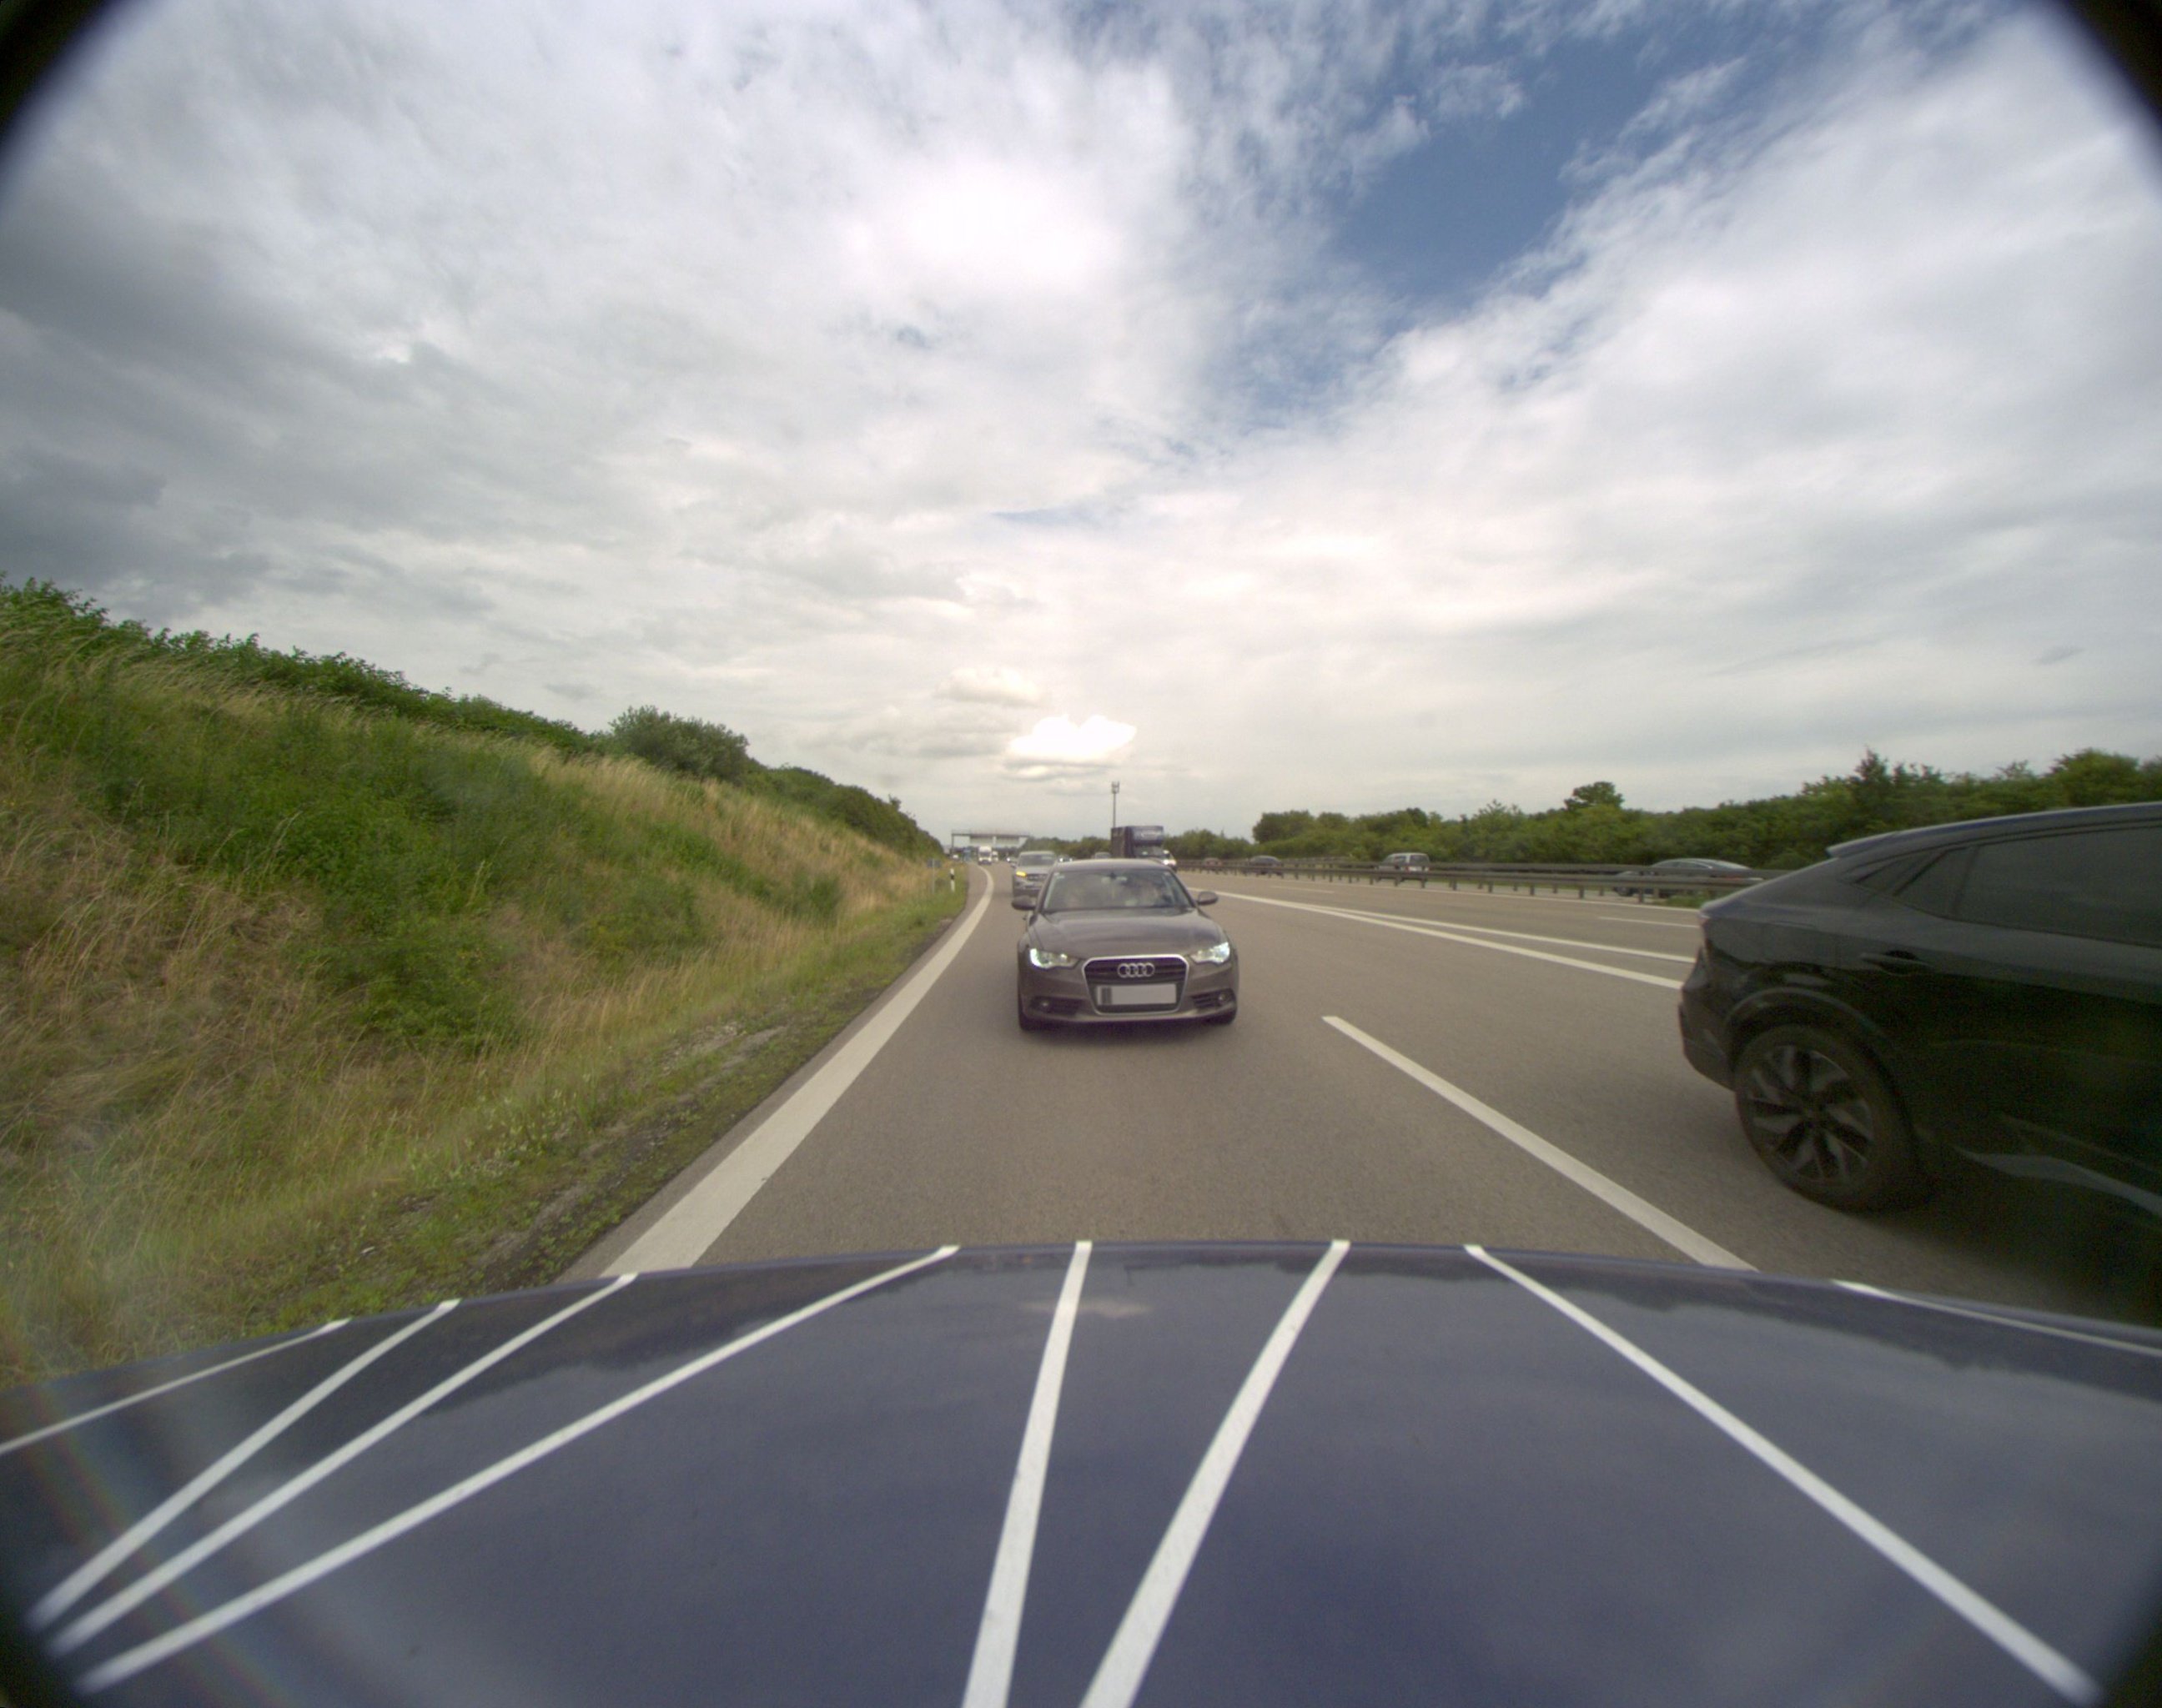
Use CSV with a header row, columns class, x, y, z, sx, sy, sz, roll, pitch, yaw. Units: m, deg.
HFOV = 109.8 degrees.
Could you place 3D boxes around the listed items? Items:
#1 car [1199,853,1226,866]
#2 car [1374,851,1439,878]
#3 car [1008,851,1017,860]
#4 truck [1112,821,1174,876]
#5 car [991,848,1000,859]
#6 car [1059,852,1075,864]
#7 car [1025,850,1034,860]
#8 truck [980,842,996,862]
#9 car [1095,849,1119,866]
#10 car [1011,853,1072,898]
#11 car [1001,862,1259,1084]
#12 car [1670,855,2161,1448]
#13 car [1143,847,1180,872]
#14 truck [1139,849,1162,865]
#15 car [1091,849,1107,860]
class,x,y,z,sx,sy,sz,roll,pitch,yaw
car,15.139,0.602,87.661,2.000,1.510,3.997,-1,0,-7
car,20.589,0.639,48.233,2.000,1.641,3.997,-1,0,-8
car,-15.642,0.254,173.844,1.999,2.002,3.998,-2,1,-4
truck,3.905,-0.280,49.918,2.475,3.351,7.919,-1,-1,-7
car,-19.896,-0.076,177.306,1.999,2.381,3.997,-2,1,-6
car,-2.194,0.613,117.603,2.000,1.733,4.825,0,0,-7
car,-11.125,0.177,164.819,1.999,2.002,3.999,0,0,-3
truck,-15.622,-0.278,127.617,2.450,3.216,7.186,-1,0,-8
car,2.758,0.402,82.125,1.851,1.748,4.333,-1,0,-8
car,-1.538,0.737,28.397,2.000,1.567,3.997,-1,0,-7
car,0.300,0.886,7.531,1.849,1.489,4.028,-1,0,-2
car,3.808,0.809,1.519,1.838,1.557,4.498,-1,0,1
car,6.079,0.411,57.752,2.000,1.799,3.997,0,0,-7
truck,9.147,0.394,100.638,2.000,2.002,4.715,-1,0,-8
car,3.842,0.128,163.364,2.169,2.317,6.672,-1,0,-8
